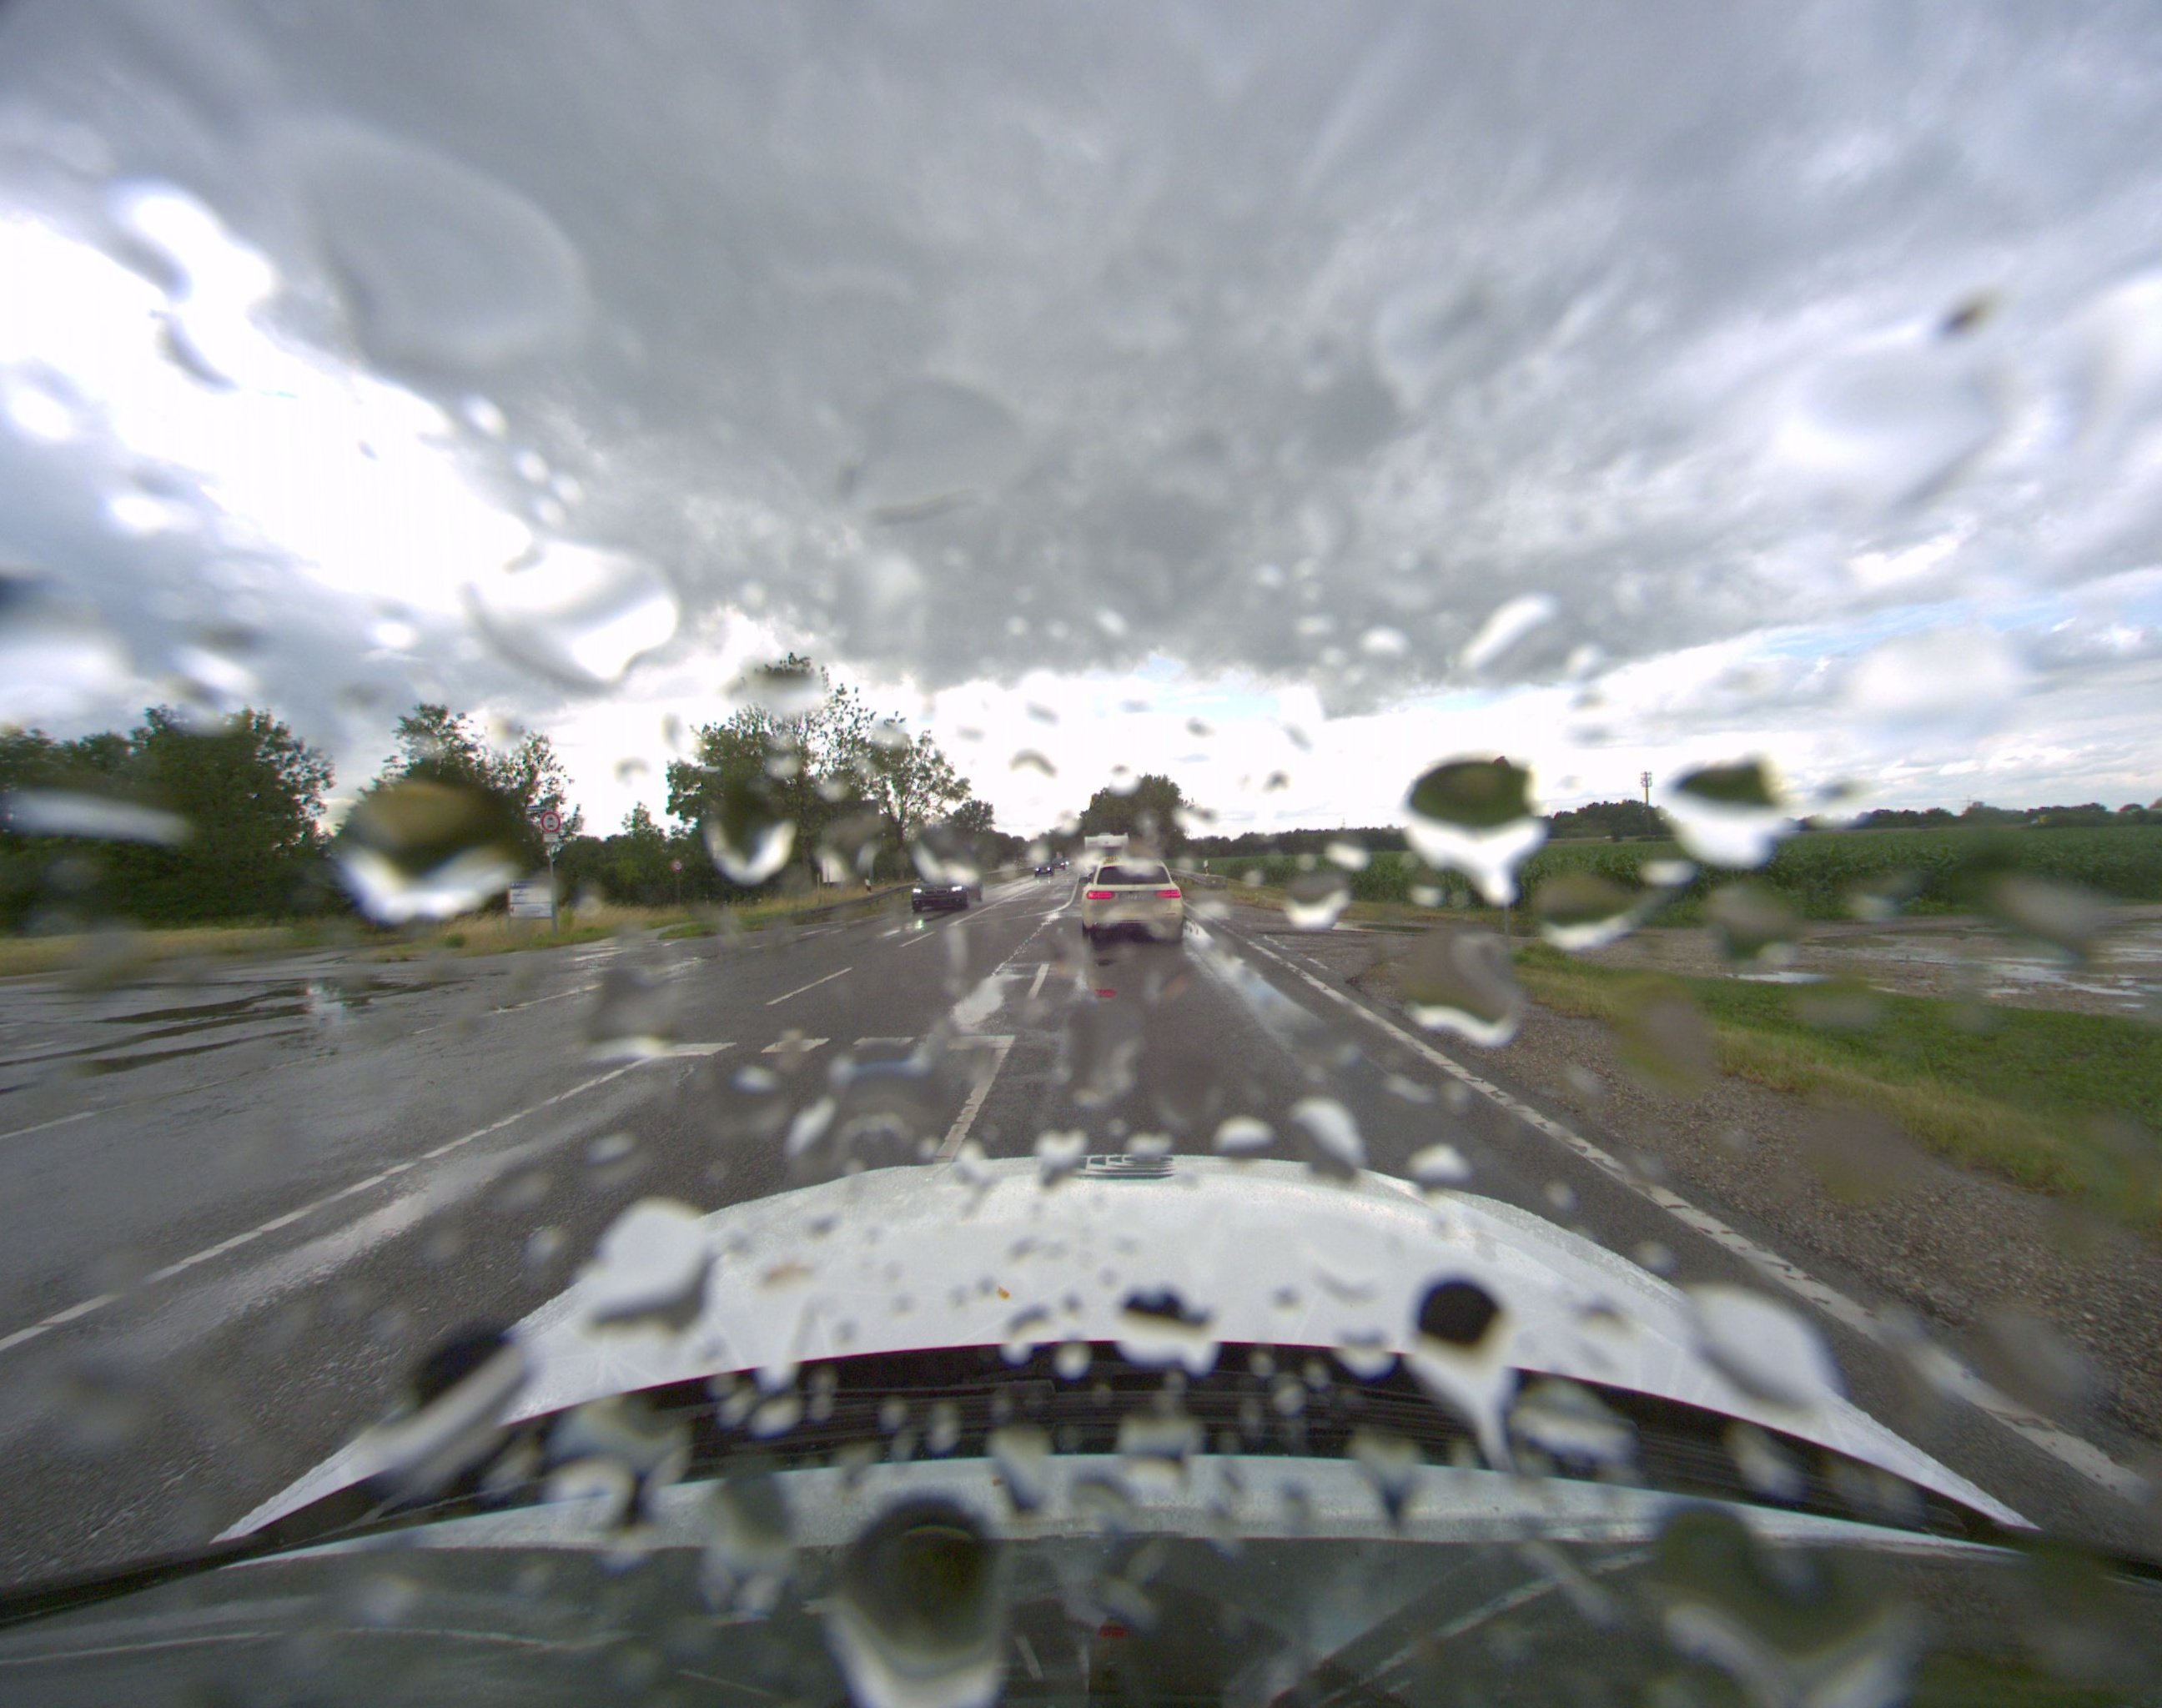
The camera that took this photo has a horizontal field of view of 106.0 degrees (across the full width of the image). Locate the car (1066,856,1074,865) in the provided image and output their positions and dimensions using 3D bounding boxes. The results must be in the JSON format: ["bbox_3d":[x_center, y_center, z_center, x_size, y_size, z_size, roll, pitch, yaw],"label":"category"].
[{"bbox_3d":[-2.722,1.680,207.490,1.988,2.013,3.997,-2,0,-1],"label":"car"}]

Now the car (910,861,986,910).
[{"bbox_3d":[-4.516,1.019,28.217,1.759,1.438,4.414,-3,0,1],"label":"car"}]

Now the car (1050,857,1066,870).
[{"bbox_3d":[-3.130,1.269,111.981,1.937,1.580,4.445,-3,0,2],"label":"car"}]

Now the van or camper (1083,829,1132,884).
[{"bbox_3d":[1.402,0.108,44.237,2.342,2.680,5.769,-2,0,1],"label":"van or camper"}]

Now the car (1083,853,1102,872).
[{"bbox_3d":[1.420,1.048,101.078,2.240,2.199,5.411,-2,0,0],"label":"car"}]

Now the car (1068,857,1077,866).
[{"bbox_3d":[-1.966,1.746,187.410,1.989,2.013,3.996,-2,0,-3],"label":"car"}]

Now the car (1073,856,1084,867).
[{"bbox_3d":[-0.426,1.451,161.295,1.988,2.013,3.997,-2,0,-2],"label":"car"}]

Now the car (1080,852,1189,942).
[{"bbox_3d":[0.978,0.742,15.902,1.818,1.485,4.147,-1,0,2],"label":"car"}]

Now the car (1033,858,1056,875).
[{"bbox_3d":[-3.384,1.162,76.212,1.705,1.405,3.817,-3,0,3],"label":"car"}]

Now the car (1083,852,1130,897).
[{"bbox_3d":[0.955,0.724,30.998,1.622,1.529,3.933,-3,0,1],"label":"car"}]

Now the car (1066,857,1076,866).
[{"bbox_3d":[-2.436,1.748,198.262,1.990,2.051,3.994,-2,0,-4],"label":"car"}]

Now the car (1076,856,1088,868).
[{"bbox_3d":[0.202,1.411,146.087,1.988,2.013,3.997,-2,0,-2],"label":"car"}]
